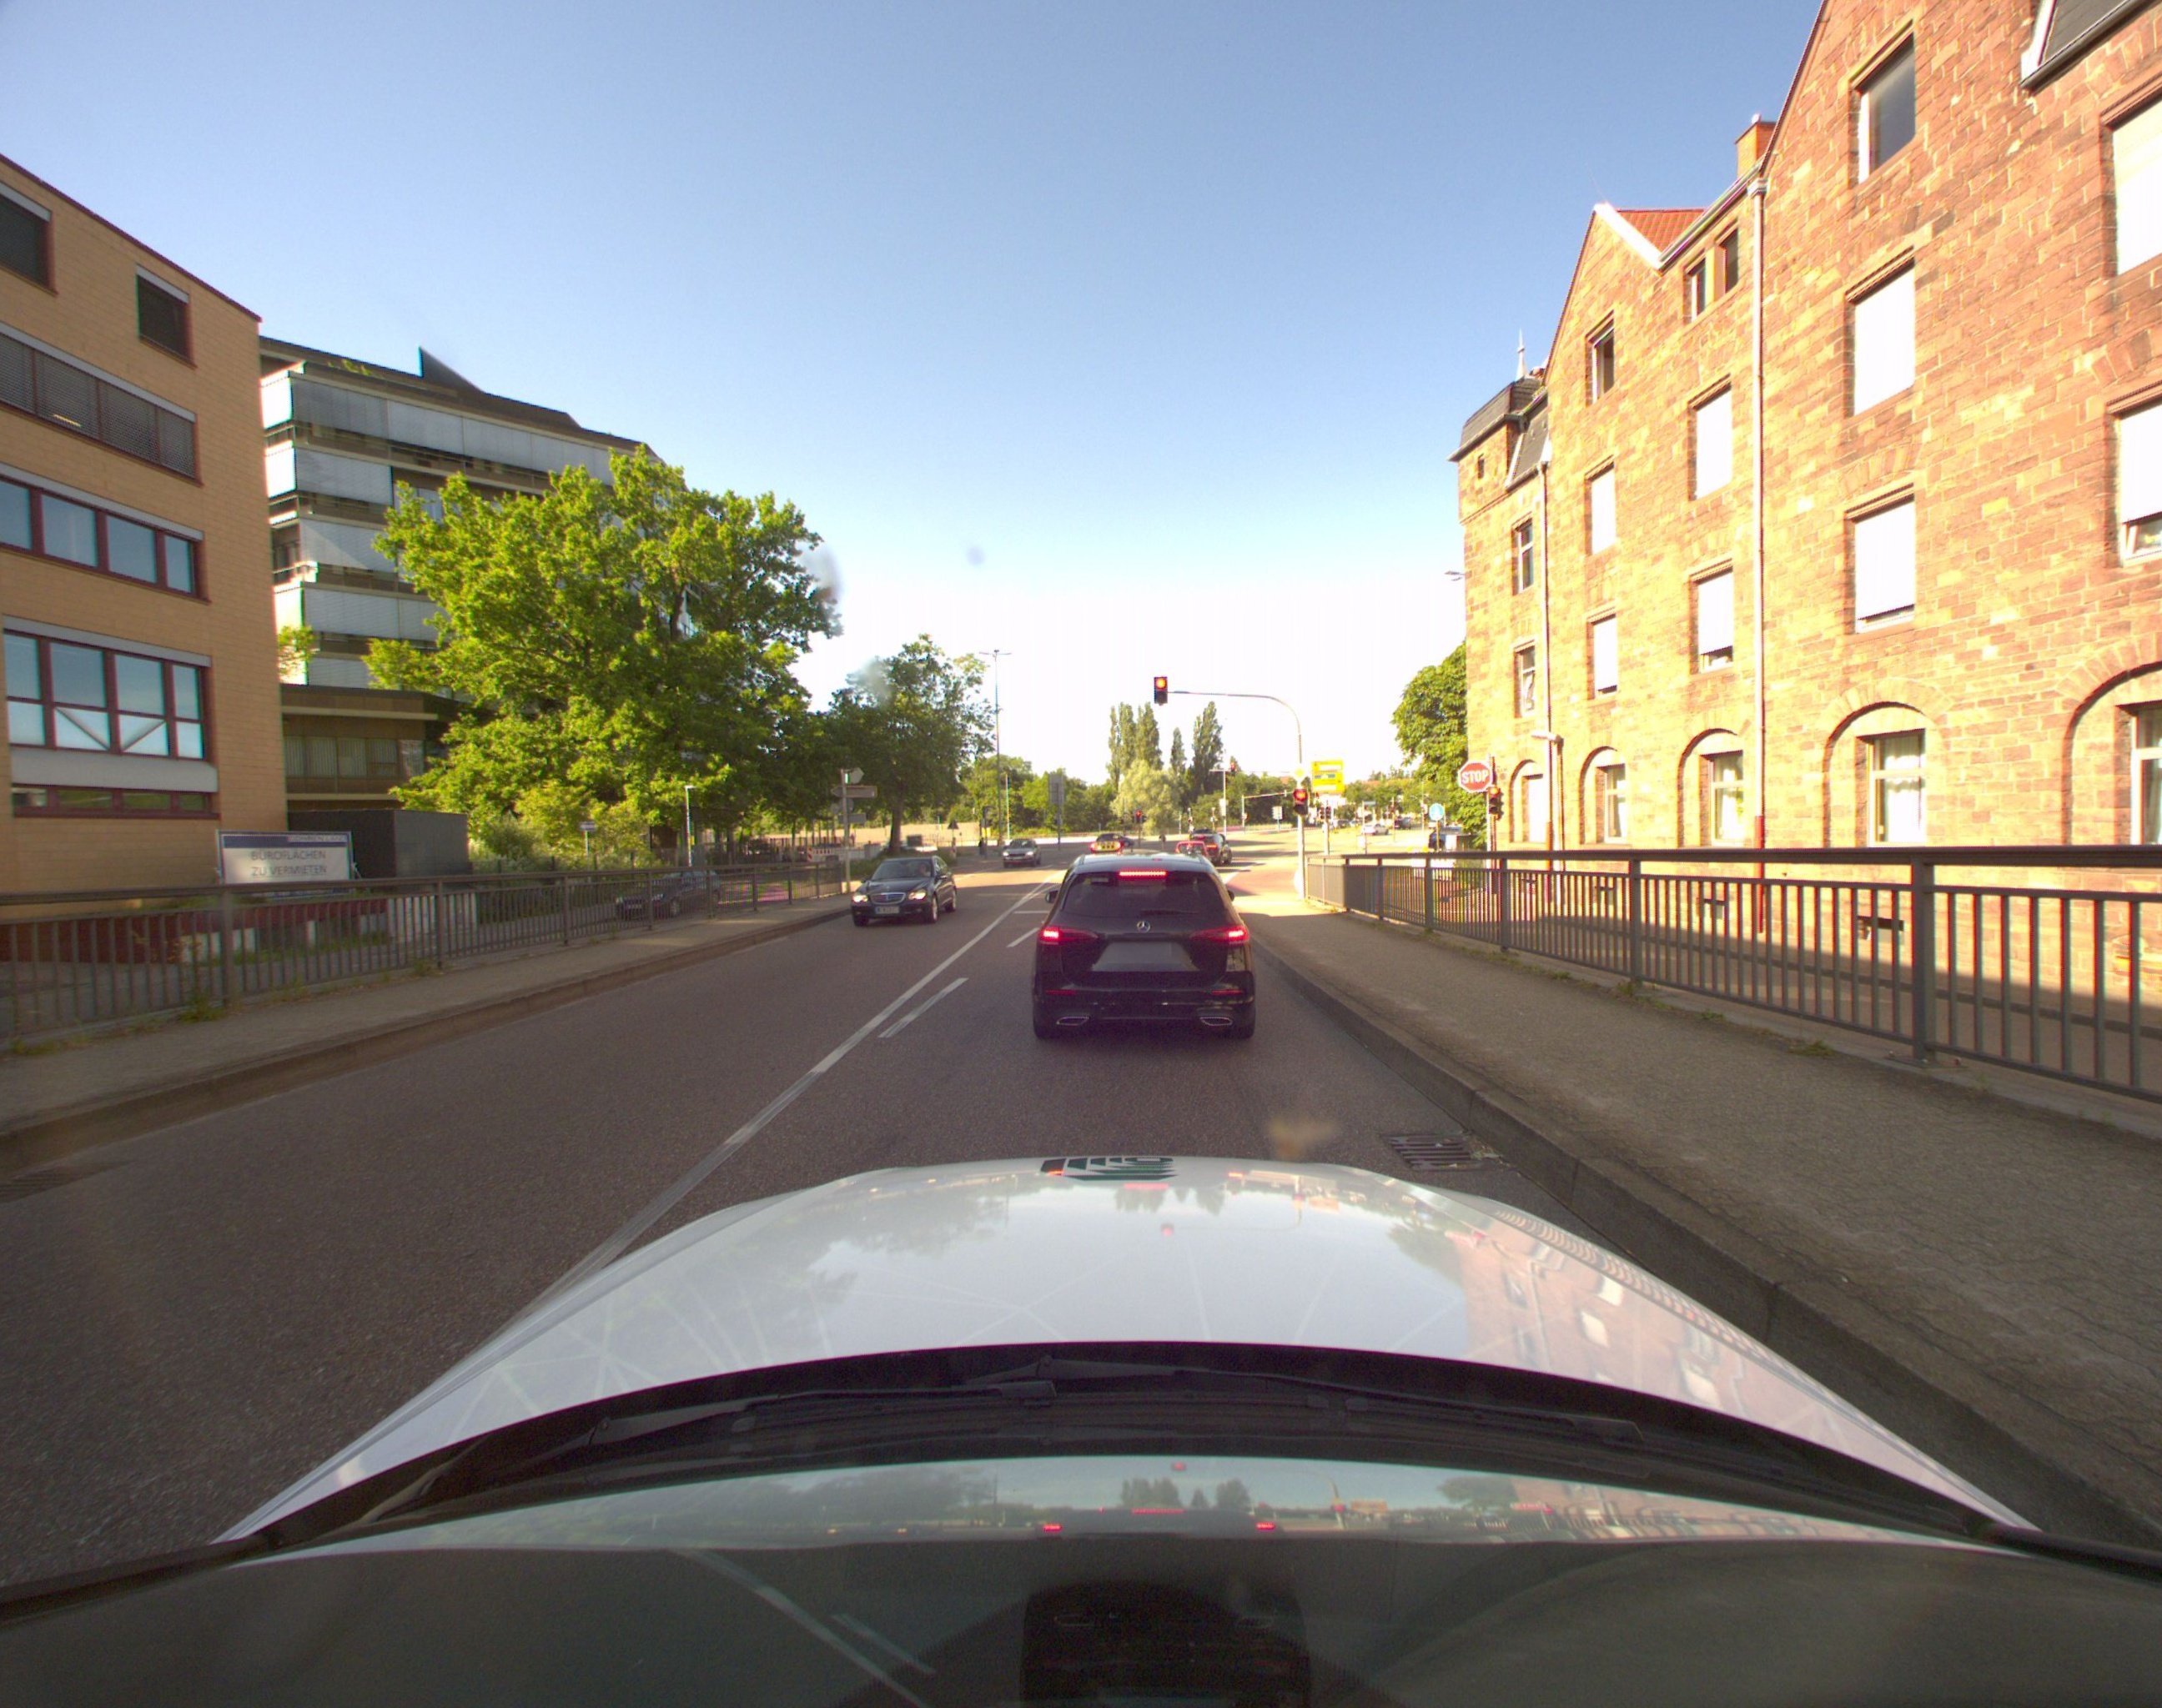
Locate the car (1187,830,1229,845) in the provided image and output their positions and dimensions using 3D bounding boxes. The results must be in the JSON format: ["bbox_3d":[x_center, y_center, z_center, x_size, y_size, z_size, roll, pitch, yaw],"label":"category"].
[{"bbox_3d":[13.516,-1.707,86.738,3.996,1.547,1.880,0,-1,-17],"label":"car"}]

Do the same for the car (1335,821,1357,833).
[{"bbox_3d":[38.766,-4.006,119.171,1.860,1.578,4.026,-1,2,38],"label":"car"}]

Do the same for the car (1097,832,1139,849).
[{"bbox_3d":[3.701,-1.325,80.968,3.966,1.498,1.748,-1,0,7],"label":"car"}]

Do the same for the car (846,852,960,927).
[{"bbox_3d":[-3.979,0.715,18.869,1.737,1.407,4.199,-2,1,-1],"label":"car"}]

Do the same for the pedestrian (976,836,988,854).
[{"bbox_3d":[-8.305,-0.781,68.383,0.700,1.525,0.746,-1,1,12],"label":"pedestrian"}]

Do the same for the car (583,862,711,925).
[{"bbox_3d":[-13.956,1.209,26.493,1.844,1.692,4.002,-2,2,2],"label":"car"}]

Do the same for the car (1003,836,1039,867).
[{"bbox_3d":[-3.500,-0.186,48.043,1.799,1.623,3.999,-2,2,-1],"label":"car"}]

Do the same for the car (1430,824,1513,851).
[{"bbox_3d":[24.686,-1.041,51.593,4.347,1.592,1.934,0,3,42],"label":"car"}]

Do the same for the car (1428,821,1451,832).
[{"bbox_3d":[50.159,-3.849,113.875,1.974,1.294,4.625,-1,3,36],"label":"car"}]

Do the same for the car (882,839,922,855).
[{"bbox_3d":[-19.760,-0.822,90.029,3.949,1.629,1.903,-1,1,28],"label":"car"}]

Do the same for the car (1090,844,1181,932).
[{"bbox_3d":[1.132,0.610,16.820,1.632,1.529,3.478,-3,1,4],"label":"car"}]

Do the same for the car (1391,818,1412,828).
[{"bbox_3d":[44.951,-4.333,114.058,1.862,1.294,4.625,-1,3,33],"label":"car"}]

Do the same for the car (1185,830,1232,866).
[{"bbox_3d":[7.095,-0.362,45.052,1.707,1.812,4.319,-2,1,20],"label":"car"}]

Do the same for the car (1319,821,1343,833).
[{"bbox_3d":[35.068,-3.757,114.098,1.860,1.578,4.026,-1,2,38],"label":"car"}]

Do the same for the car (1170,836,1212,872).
[{"bbox_3d":[5.366,-0.033,39.446,1.710,1.521,3.499,-1,3,13],"label":"car"}]

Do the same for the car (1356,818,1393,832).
[{"bbox_3d":[33.683,-3.354,93.408,4.337,1.365,1.977,-5,3,-39],"label":"car"}]

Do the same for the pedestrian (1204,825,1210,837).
[{"bbox_3d":[17.143,-3.151,110.729,0.446,1.585,0.504,-2,1,42],"label":"pedestrian"}]

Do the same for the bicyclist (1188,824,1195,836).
[{"bbox_3d":[13.826,-3.027,101.977,0.521,1.551,0.812,-2,1,27],"label":"bicyclist"}]

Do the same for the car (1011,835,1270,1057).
[{"bbox_3d":[0.497,0.652,7.942,1.871,1.613,4.002,0,0,2],"label":"car"}]
